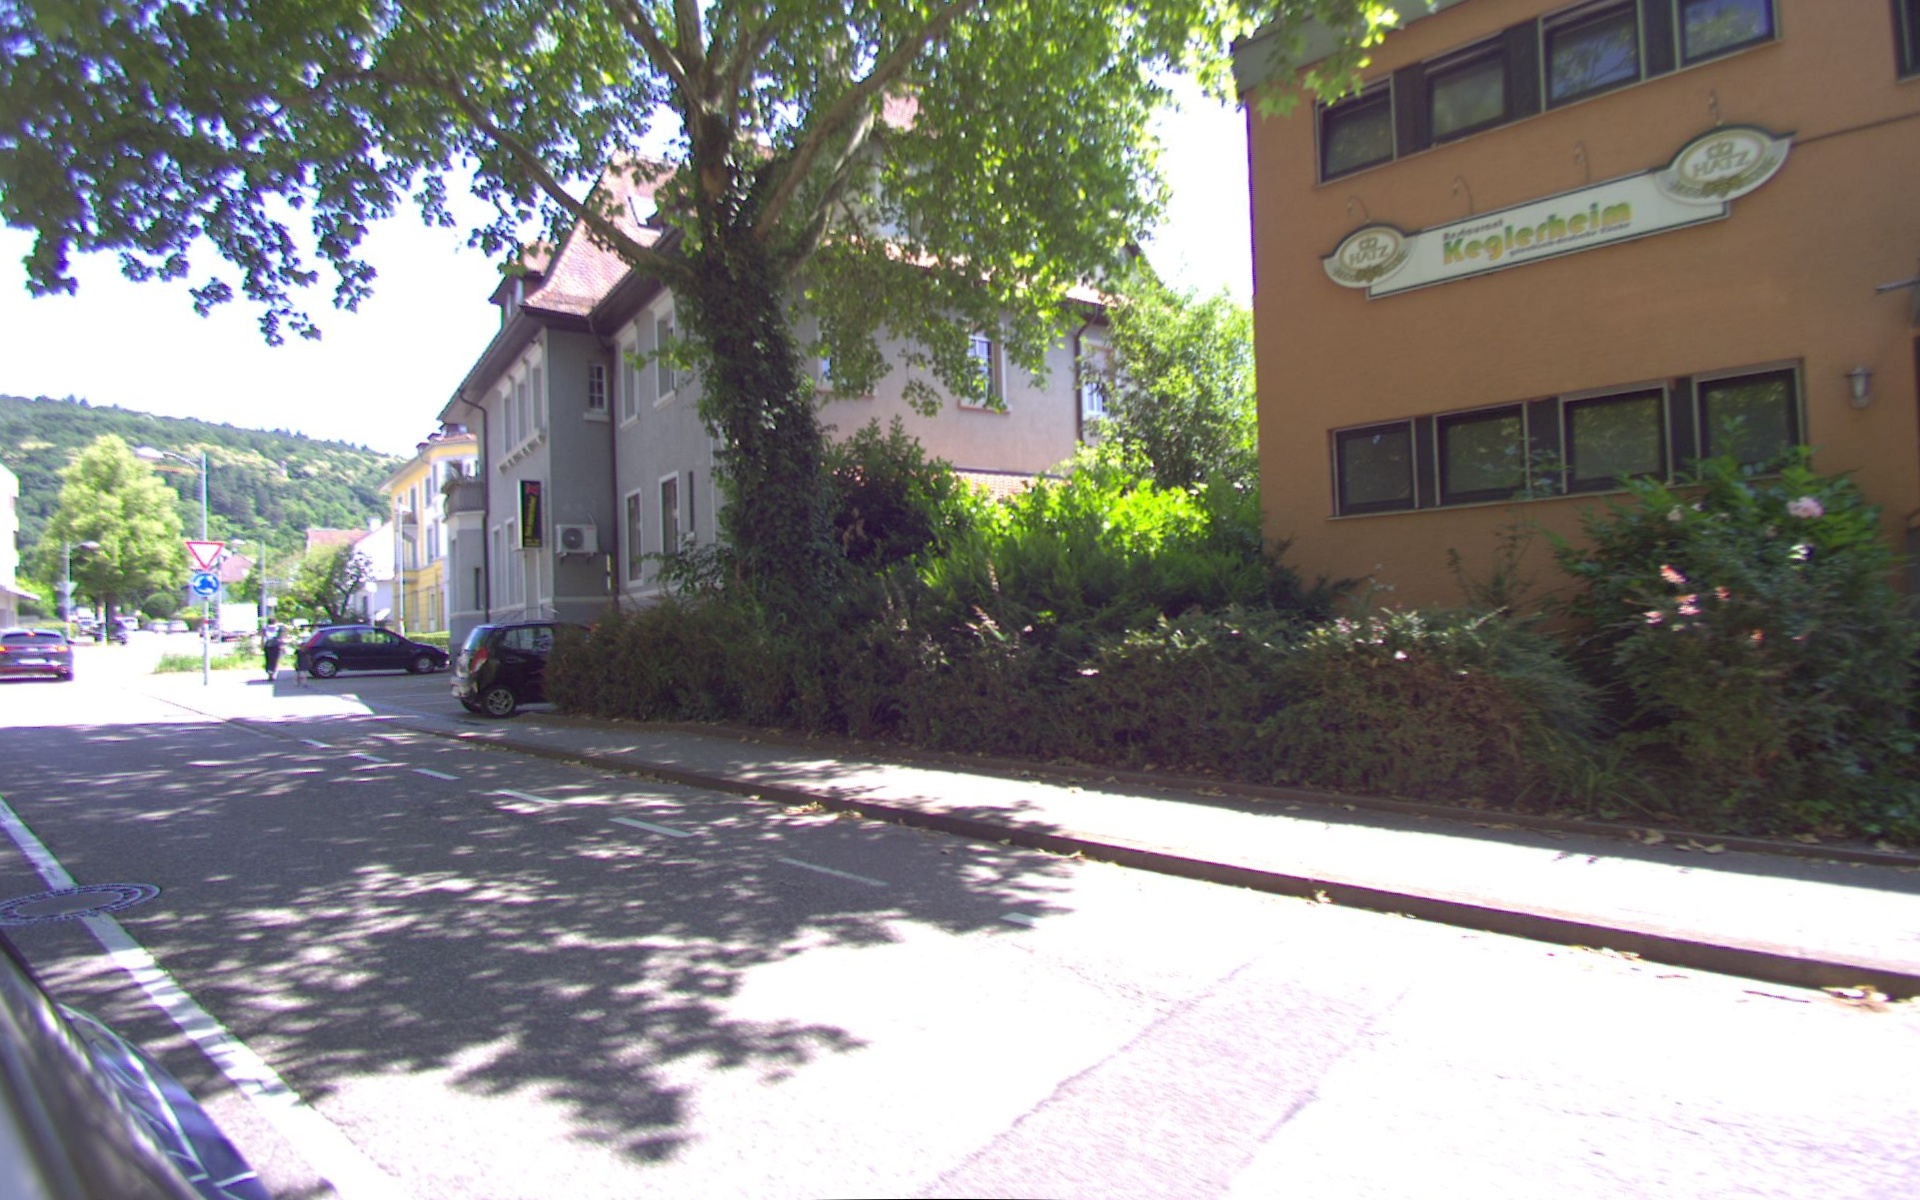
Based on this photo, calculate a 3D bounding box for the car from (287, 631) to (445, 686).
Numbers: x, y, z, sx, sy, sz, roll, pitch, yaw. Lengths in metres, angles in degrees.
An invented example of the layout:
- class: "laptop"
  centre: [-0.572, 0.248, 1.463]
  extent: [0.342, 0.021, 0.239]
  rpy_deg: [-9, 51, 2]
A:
- class: "car"
  centre: [-17.206, 1.660, 29.404]
  extent: [3.732, 1.471, 1.727]
  rpy_deg: [1, -2, -40]

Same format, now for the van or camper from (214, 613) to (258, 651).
- class: "van or camper"
  centre: [-54.762, 2.402, 76.494]
  extent: [2.239, 2.658, 5.896]
  rpy_deg: [-3, 1, -39]

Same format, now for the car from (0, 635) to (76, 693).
- class: "car"
  centre: [-25.307, 1.662, 27.224]
  extent: [4.391, 1.437, 1.750]
  rpy_deg: [-2, -2, 42]

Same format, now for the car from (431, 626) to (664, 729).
- class: "car"
  centre: [-6.987, 1.239, 17.257]
  extent: [3.338, 1.558, 1.727]
  rpy_deg: [1, -2, -40]

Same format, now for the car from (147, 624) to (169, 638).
- class: "car"
  centre: [-99.354, 3.855, 125.337]
  extent: [1.969, 1.679, 4.006]
  rpy_deg: [1, -1, -41]

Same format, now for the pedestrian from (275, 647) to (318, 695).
- class: "pedestrian"
  centre: [-16.363, 1.731, 24.963]
  extent: [0.745, 1.130, 0.898]
  rpy_deg: [1, -2, -43]

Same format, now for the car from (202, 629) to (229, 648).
- class: "car"
  centre: [-61.518, 3.180, 83.615]
  extent: [1.728, 1.516, 4.000]
  rpy_deg: [0, -2, -38]

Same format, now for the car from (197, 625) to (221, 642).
- class: "car"
  centre: [-70.821, 3.167, 95.369]
  extent: [1.728, 1.516, 4.000]
  rpy_deg: [0, -2, -38]

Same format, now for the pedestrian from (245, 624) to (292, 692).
- class: "pedestrian"
  centre: [-18.423, 1.519, 26.965]
  extent: [0.861, 1.755, 1.113]
  rpy_deg: [1, -2, -43]

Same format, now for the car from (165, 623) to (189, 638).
- class: "car"
  centre: [-91.025, 3.567, 117.679]
  extent: [1.969, 1.679, 4.006]
  rpy_deg: [1, -1, -41]

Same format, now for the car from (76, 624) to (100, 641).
- class: "car"
  centre: [-94.642, 3.546, 109.846]
  extent: [1.739, 1.763, 4.008]
  rpy_deg: [0, -1, -38]

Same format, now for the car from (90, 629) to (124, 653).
- class: "car"
  centre: [-57.617, 2.747, 68.414]
  extent: [1.729, 1.516, 3.999]
  rpy_deg: [0, -2, -40]
